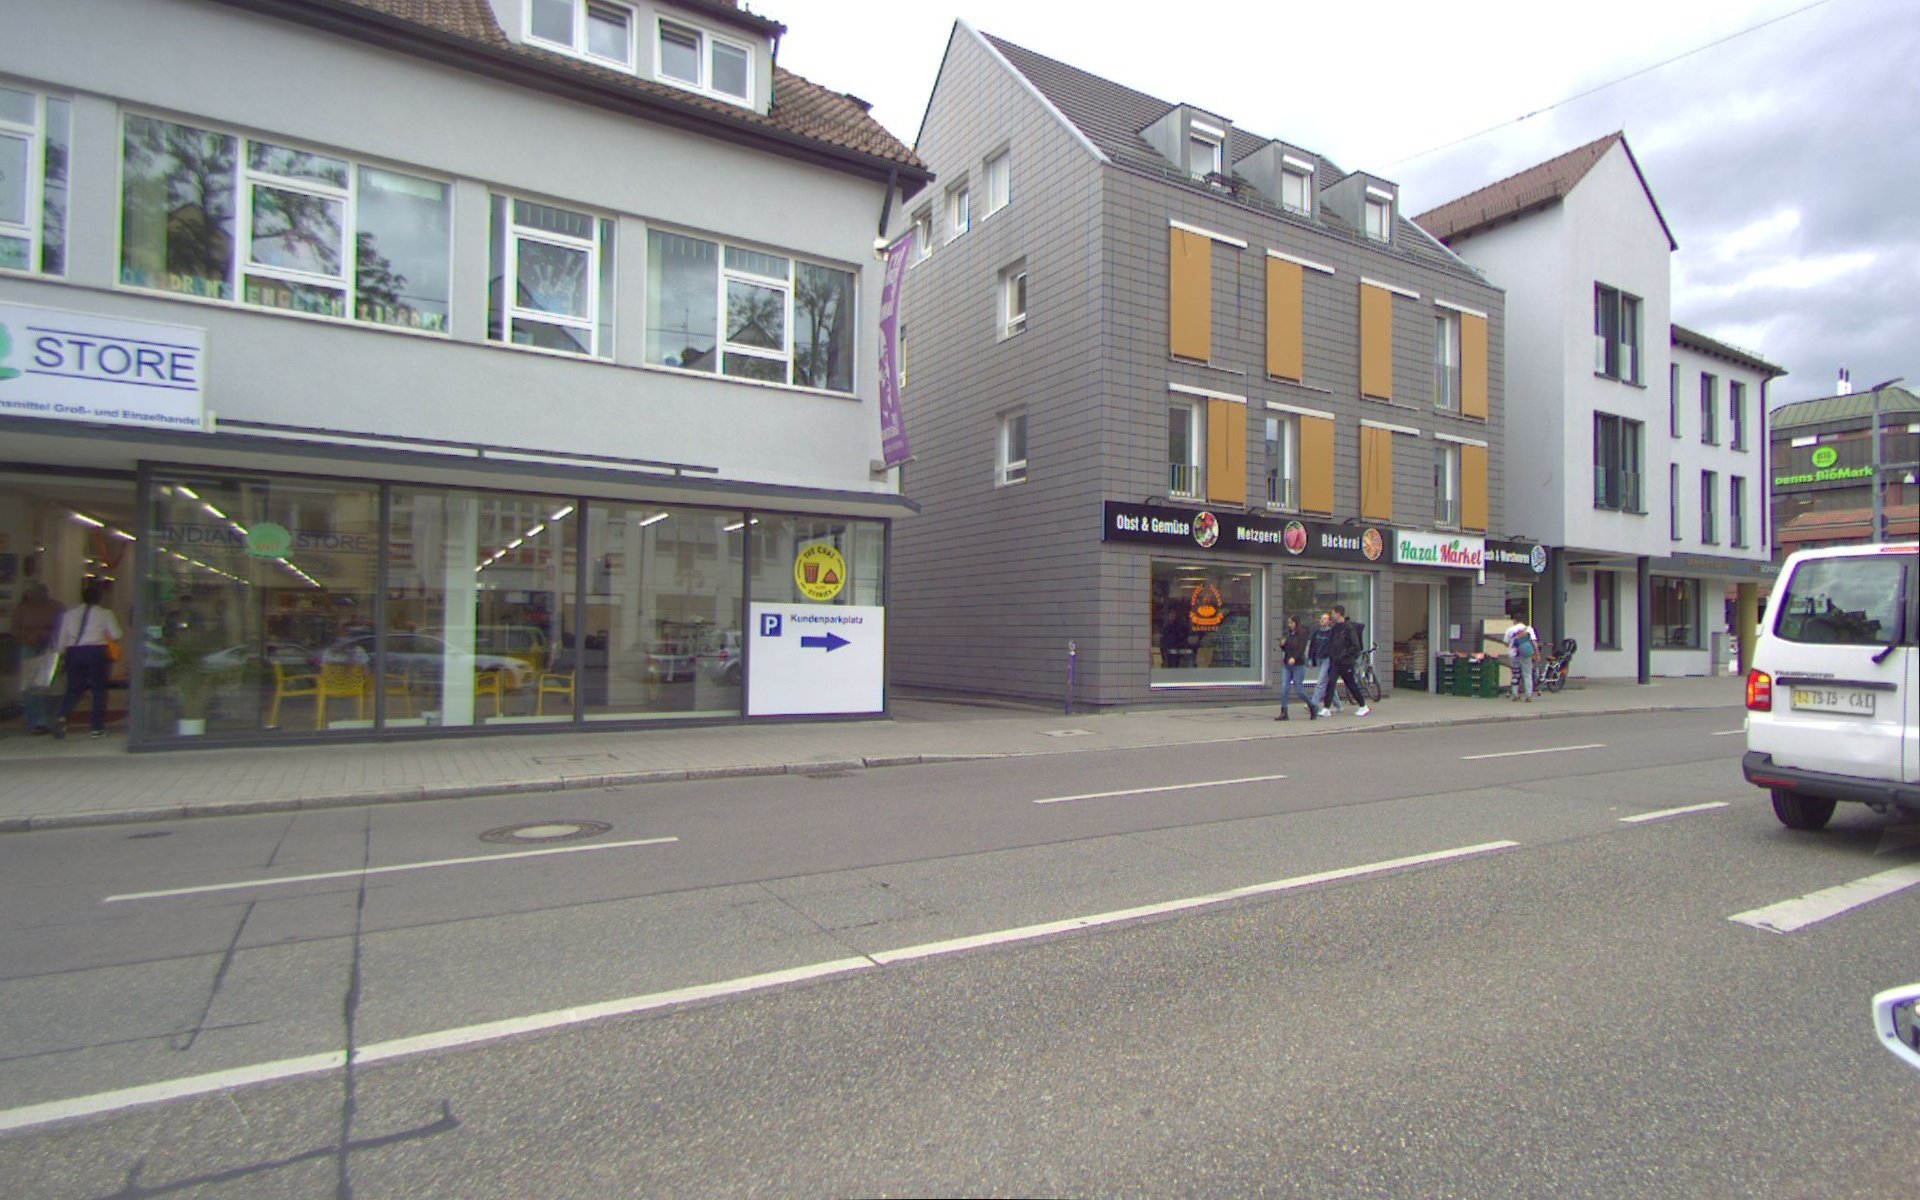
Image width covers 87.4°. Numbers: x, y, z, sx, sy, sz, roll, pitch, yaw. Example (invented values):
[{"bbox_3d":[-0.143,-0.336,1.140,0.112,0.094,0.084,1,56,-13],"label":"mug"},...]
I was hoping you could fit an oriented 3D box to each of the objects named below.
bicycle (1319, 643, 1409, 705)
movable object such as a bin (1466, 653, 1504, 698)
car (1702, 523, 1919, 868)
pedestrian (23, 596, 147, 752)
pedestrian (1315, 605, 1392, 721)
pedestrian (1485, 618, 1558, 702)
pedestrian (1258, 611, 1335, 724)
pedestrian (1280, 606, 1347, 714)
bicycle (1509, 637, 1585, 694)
[{"bbox_3d":[7.737,1.397,19.228,1.880,1.115,0.569,1,-1,-30],"label":"bicycle"},{"bbox_3d":[11.165,1.604,21.370,0.501,0.911,0.548,1,-1,-32],"label":"movable object such as a bin"},{"bbox_3d":[7.667,0.605,7.260,4.783,2.040,1.984,1,0,-30],"label":"car"},{"bbox_3d":[-9.472,0.773,10.885,0.713,1.601,0.846,-1,-1,34],"label":"pedestrian"},{"bbox_3d":[6.511,1.025,16.640,1.015,1.863,0.704,1,-1,-29],"label":"pedestrian"},{"bbox_3d":[11.301,1.194,20.241,0.953,1.665,0.890,1,-1,-5],"label":"pedestrian"},{"bbox_3d":[5.335,1.048,15.936,0.859,1.720,0.800,1,-1,-29],"label":"pedestrian"},{"bbox_3d":[6.096,1.015,17.324,0.859,1.805,0.704,1,-1,-29],"label":"pedestrian"},{"bbox_3d":[13.332,1.460,22.777,2.095,1.248,0.579,1,-1,-32],"label":"bicycle"}]
